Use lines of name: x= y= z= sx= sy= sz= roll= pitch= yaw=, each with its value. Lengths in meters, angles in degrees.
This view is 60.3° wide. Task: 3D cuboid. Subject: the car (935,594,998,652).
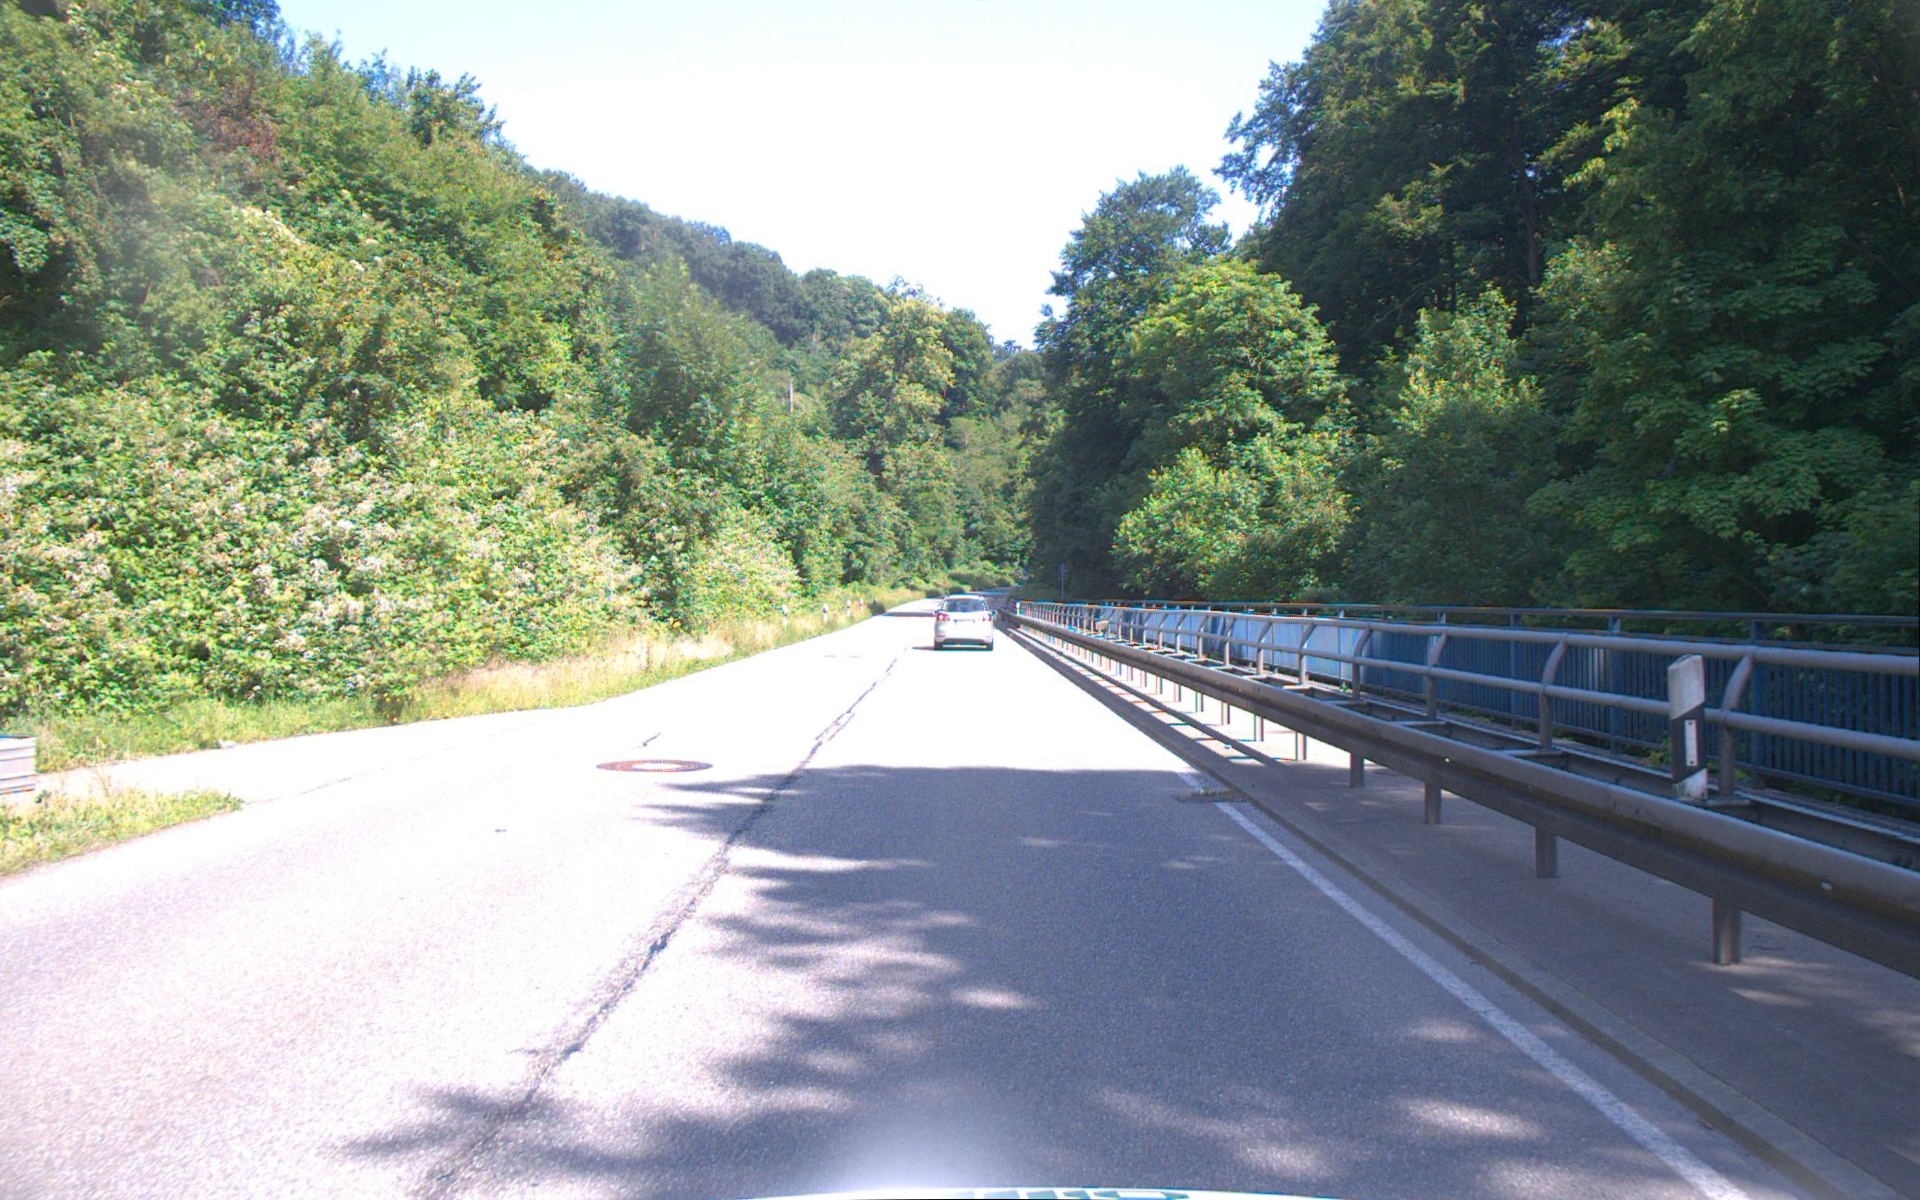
car: x=0.171 y=0.629 z=48.258 sx=1.715 sy=1.546 sz=4.159 roll=1 pitch=1 yaw=0
